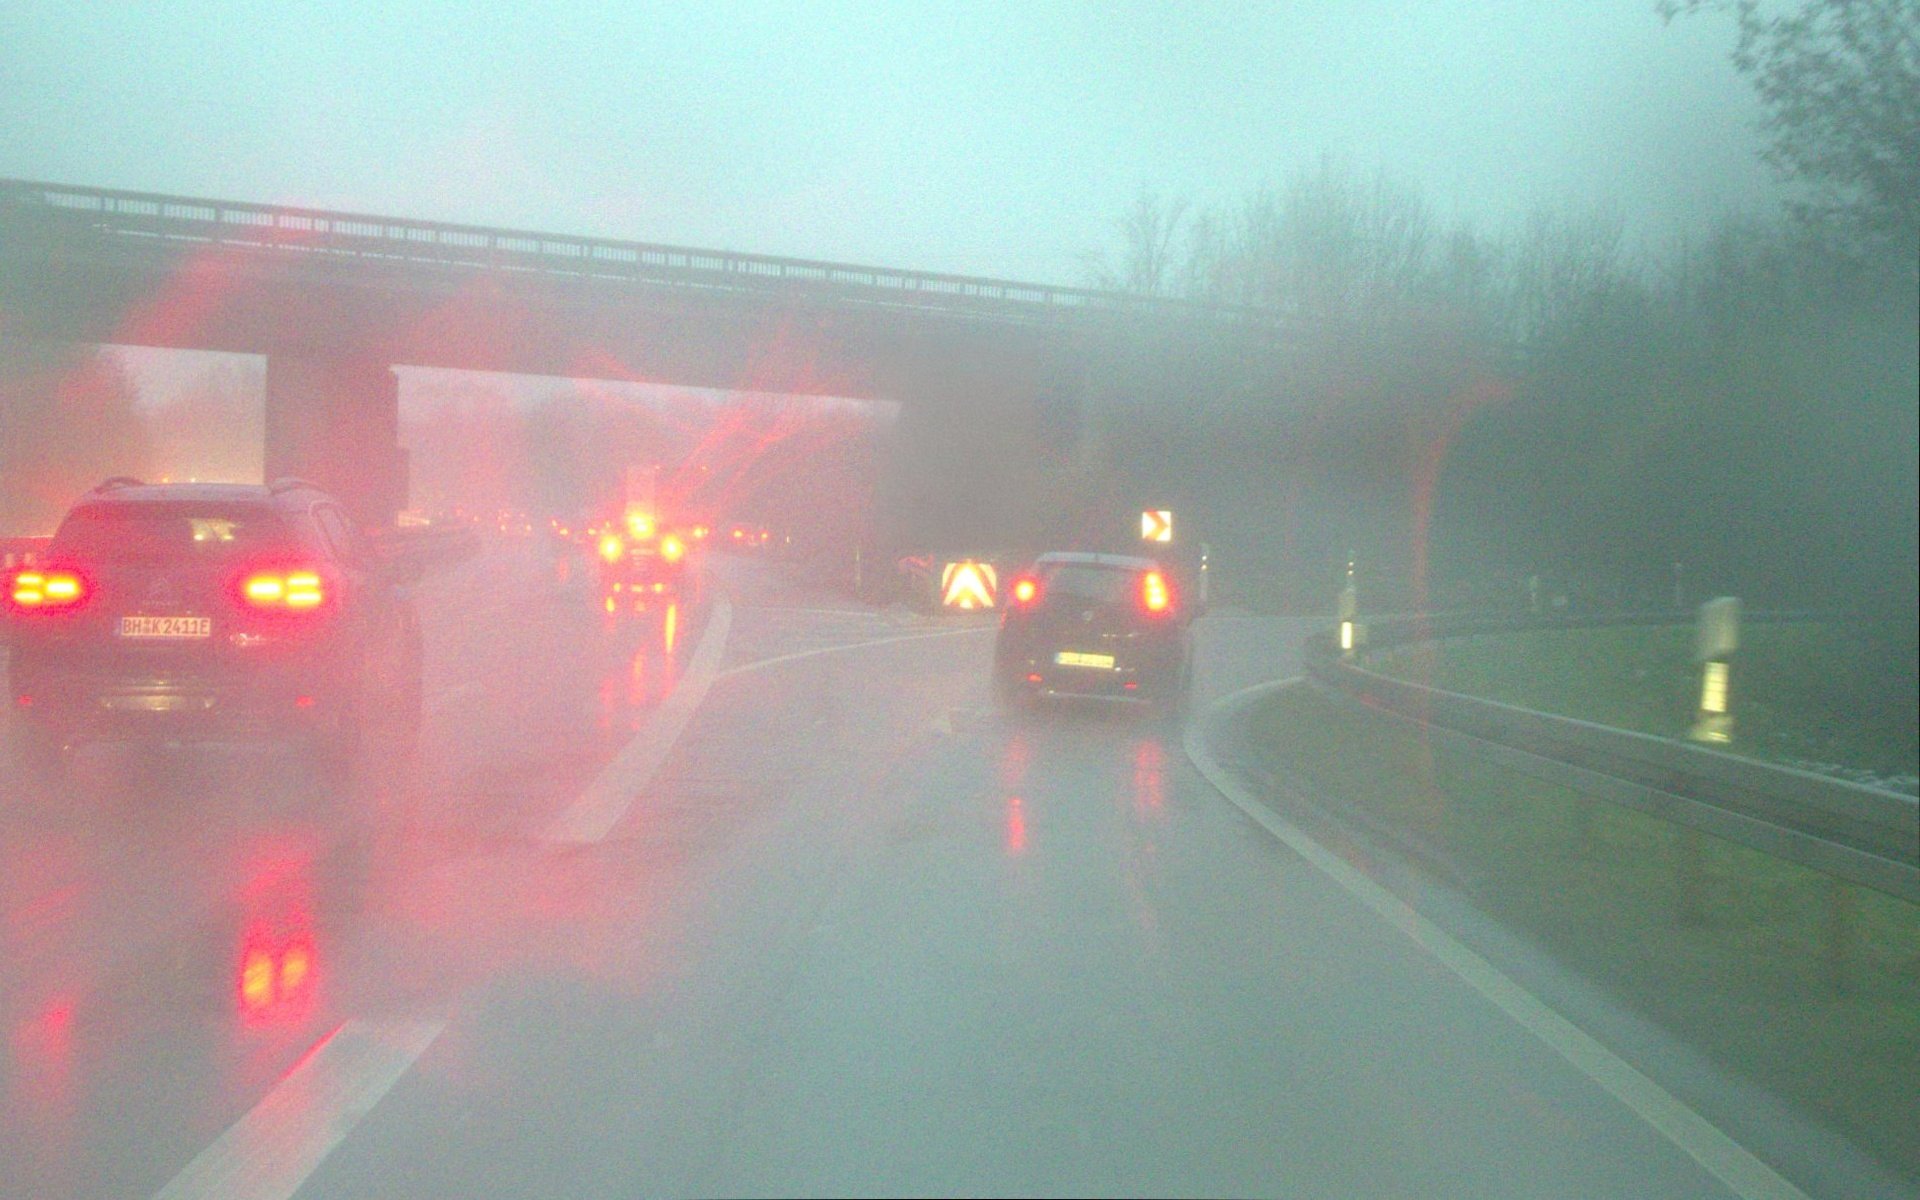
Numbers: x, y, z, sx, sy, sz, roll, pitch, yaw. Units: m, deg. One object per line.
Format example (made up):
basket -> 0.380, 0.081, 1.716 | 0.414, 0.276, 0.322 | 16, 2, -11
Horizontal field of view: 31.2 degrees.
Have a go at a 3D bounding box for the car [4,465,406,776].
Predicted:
car -> -4.352, 0.051, 20.387 | 1.993, 1.659, 4.001 | 0, 2, -8

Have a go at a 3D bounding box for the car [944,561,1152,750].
car -> 0.875, 0.478, 32.565 | 1.732, 1.424, 3.765 | -5, 2, 3

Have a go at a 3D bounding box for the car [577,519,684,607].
car -> -6.860, -0.800, 71.843 | 1.878, 1.611, 3.875 | 2, 3, -1
